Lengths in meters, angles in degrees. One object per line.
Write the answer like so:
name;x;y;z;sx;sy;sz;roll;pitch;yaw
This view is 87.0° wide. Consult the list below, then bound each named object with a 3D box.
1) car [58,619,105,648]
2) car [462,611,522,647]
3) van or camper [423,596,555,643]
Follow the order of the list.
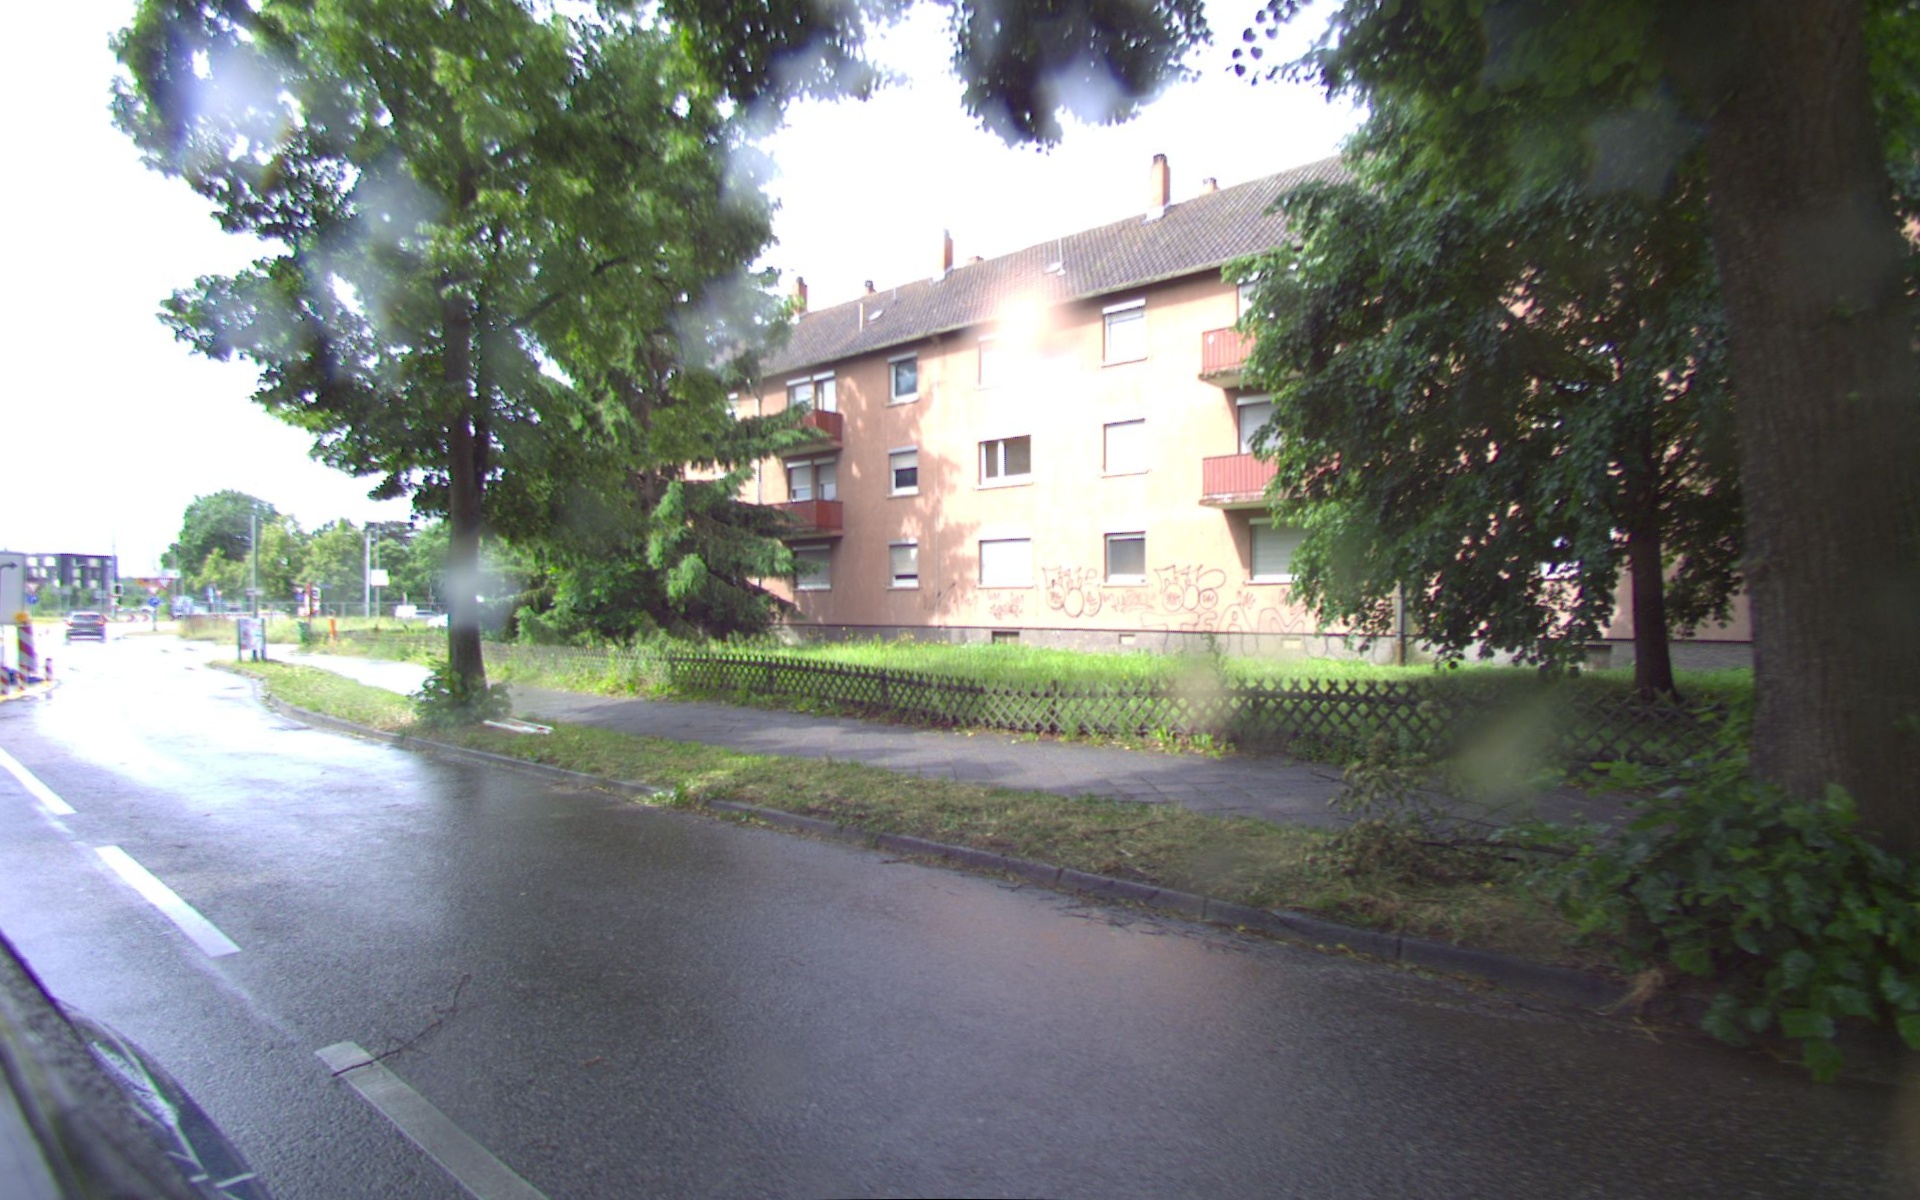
car;-47.820;1.800;55.068;3.795;1.519;1.661;-1;-1;45
car;-22.660;1.390;48.936;1.731;1.630;4.336;-1;0;-37
van or camper;-27.893;1.133;60.216;6.863;2.667;2.519;0;0;-17
